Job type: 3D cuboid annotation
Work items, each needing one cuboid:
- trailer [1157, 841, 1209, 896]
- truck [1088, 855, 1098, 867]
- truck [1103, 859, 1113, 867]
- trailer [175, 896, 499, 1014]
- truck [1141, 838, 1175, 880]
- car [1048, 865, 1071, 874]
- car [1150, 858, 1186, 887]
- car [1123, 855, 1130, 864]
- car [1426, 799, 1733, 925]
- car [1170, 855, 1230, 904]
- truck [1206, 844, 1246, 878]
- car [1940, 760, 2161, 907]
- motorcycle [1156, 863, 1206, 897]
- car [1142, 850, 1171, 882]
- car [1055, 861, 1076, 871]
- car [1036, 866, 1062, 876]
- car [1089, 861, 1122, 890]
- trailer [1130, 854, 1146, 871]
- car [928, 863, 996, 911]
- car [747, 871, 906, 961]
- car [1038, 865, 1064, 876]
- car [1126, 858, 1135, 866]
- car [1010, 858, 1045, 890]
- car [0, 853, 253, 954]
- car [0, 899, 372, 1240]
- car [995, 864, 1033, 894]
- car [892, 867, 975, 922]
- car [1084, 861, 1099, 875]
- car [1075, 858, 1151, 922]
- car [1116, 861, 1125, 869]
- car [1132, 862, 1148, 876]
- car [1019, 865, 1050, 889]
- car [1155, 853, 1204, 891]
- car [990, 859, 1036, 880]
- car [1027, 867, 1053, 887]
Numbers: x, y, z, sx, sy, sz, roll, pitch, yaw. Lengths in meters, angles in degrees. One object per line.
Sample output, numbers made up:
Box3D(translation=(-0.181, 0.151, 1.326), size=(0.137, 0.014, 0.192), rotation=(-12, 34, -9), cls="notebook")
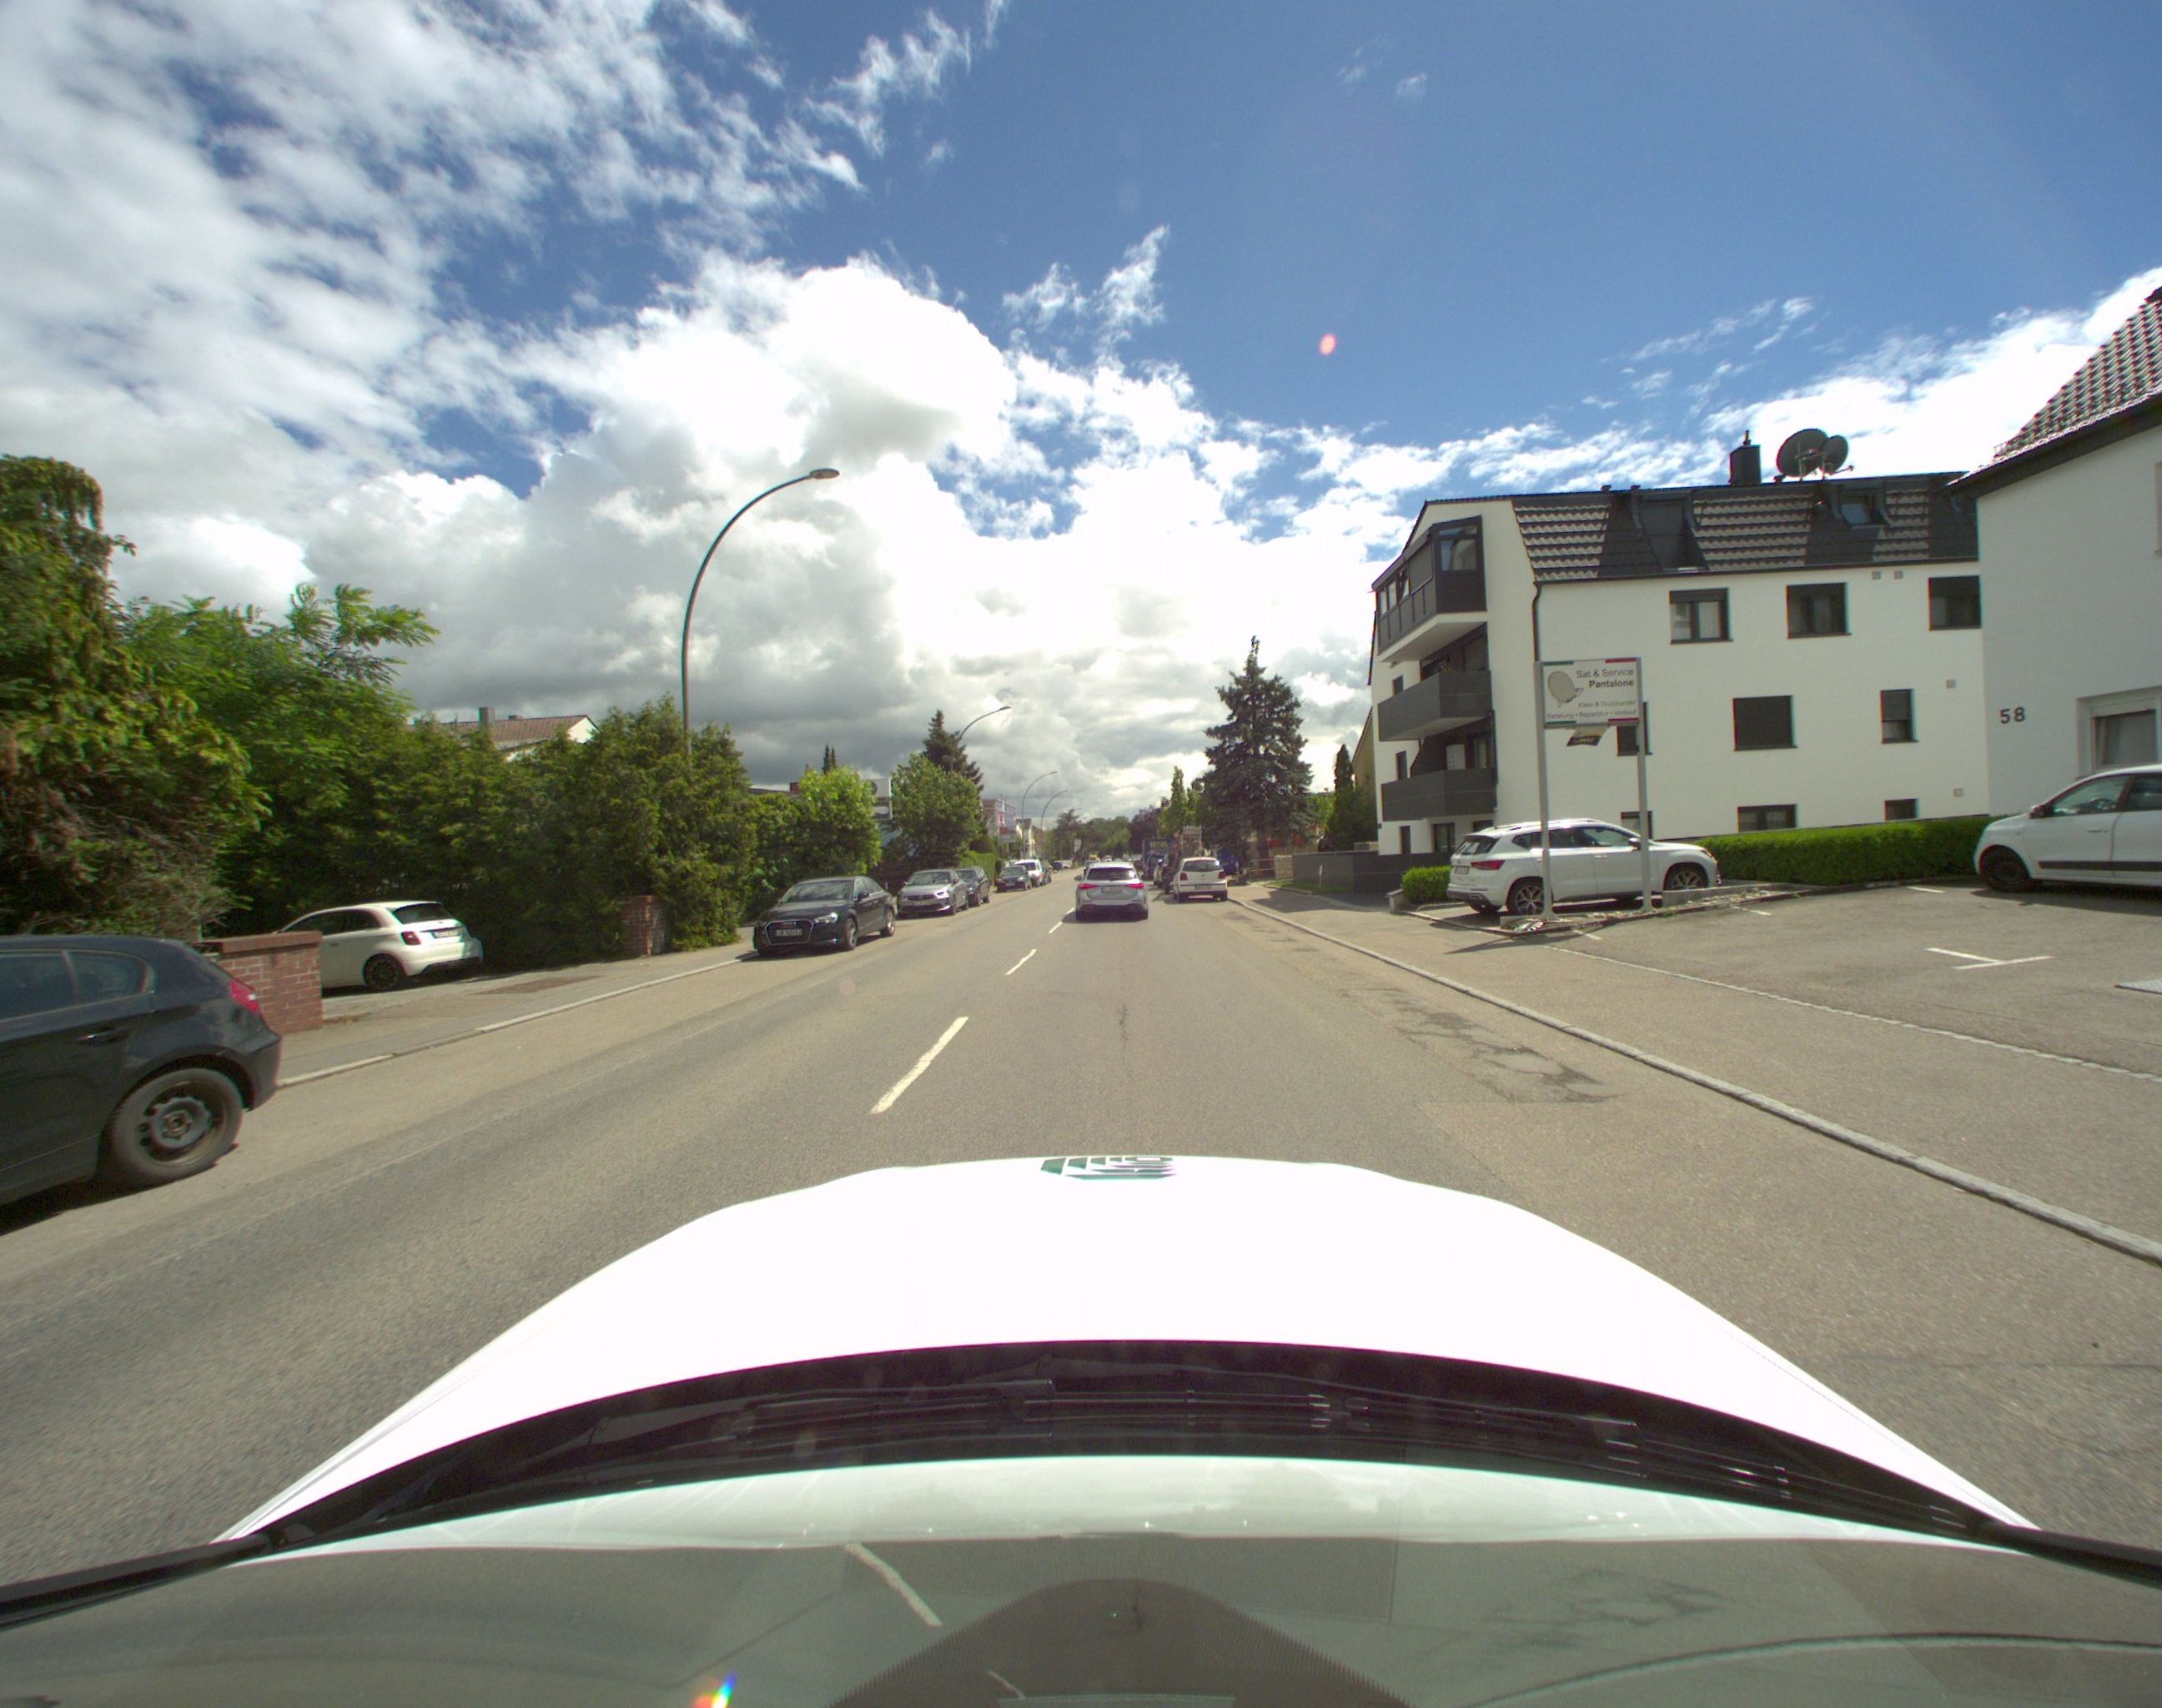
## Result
Box3D(translation=(4.324, 0.599, 35.033), size=(1.766, 2.145, 4.116), rotation=(-3, 0, 2), cls="trailer")
Box3D(translation=(3.187, 1.773, 209.541), size=(2.066, 2.814, 7.085), rotation=(-4, 0, 4), cls="truck")
Box3D(translation=(8.101, 2.678, 242.737), size=(2.308, 2.178, 6.457), rotation=(-4, -1, 5), cls="truck")
Box3D(translation=(-12.857, 1.713, 14.252), size=(3.971, 1.459, 1.801), rotation=(-6, -1, 2), cls="trailer")
Box3D(translation=(6.037, 0.390, 64.559), size=(2.311, 3.097, 6.046), rotation=(-1, 0, 3), cls="truck")
Box3D(translation=(-4.353, 3.194, 165.423), size=(4.262, 1.567, 1.992), rotation=(-3, -4, 2), cls="car")
Box3D(translation=(4.983, 1.051, 47.069), size=(1.766, 1.508, 4.002), rotation=(-3, 0, 2), cls="car")
Box3D(translation=(13.789, 1.746, 248.274), size=(1.778, 2.518, 4.316), rotation=(-2, -1, 1), cls="car")
Box3D(translation=(8.695, 0.138, 14.513), size=(4.176, 1.654, 1.868), rotation=(-6, -1, 1), cls="car")
Box3D(translation=(4.056, 0.834, 28.329), size=(1.711, 1.432, 3.988), rotation=(-4, 0, 5), cls="car")
Box3D(translation=(10.120, 0.436, 57.155), size=(1.822, 2.081, 5.388), rotation=(-6, 1, 2), cls="truck")
Box3D(translation=(12.436, -0.293, 9.329), size=(1.622, 1.519, 3.675), rotation=(-6, 1, 10), cls="car")
Box3D(translation=(3.900, 1.013, 31.632), size=(1.830, 1.210, 0.710), rotation=(-3, 0, -33), cls="motorcycle")
Box3D(translation=(5.443, 0.852, 58.957), size=(1.866, 2.169, 4.468), rotation=(-1, 0, 3), cls="car")
Box3D(translation=(-3.203, 2.518, 170.623), size=(4.264, 1.836, 1.991), rotation=(-3, -4, 1), cls="car")
Box3D(translation=(-5.025, 2.747, 129.098), size=(4.138, 1.492, 1.825), rotation=(-1, 0, -1), cls="car")
Box3D(translation=(1.402, 1.229, 47.789), size=(1.750, 1.558, 3.999), rotation=(-2, 0, 0), cls="car")
Box3D(translation=(8.102, 1.256, 116.233), size=(1.934, 2.294, 4.446), rotation=(-3, -1, 1), cls="trailer")
Box3D(translation=(-4.400, 1.174, 30.720), size=(1.713, 1.493, 4.736), rotation=(-4, 0, 1), cls="car")
Box3D(translation=(-5.017, 1.154, 16.711), size=(1.656, 1.414, 4.341), rotation=(-4, 0, 2), cls="car")
Box3D(translation=(-5.640, 3.080, 152.738), size=(4.614, 1.632, 2.197), rotation=(-6, 0, -1), cls="car")
Box3D(translation=(12.854, 2.026, 210.902), size=(2.135, 1.984, 5.265), rotation=(-3, -1, 3), cls="car")
Box3D(translation=(-3.421, 1.252, 52.783), size=(1.737, 1.838, 4.357), rotation=(-6, 0, 1), cls="car")
Box3D(translation=(-17.700, 0.899, 14.411), size=(3.972, 1.451, 2.001), rotation=(-5, -1, 1), cls="car")
Box3D(translation=(-5.741, 1.085, 3.333), size=(1.656, 1.435, 4.341), rotation=(-5, 0, 2), cls="car")
Box3D(translation=(-3.802, 1.388, 46.865), size=(1.634, 1.487, 4.001), rotation=(-6, 0, 1), cls="car")
Box3D(translation=(-4.622, 1.232, 26.097), size=(1.713, 1.432, 4.200), rotation=(-4, 0, 1), cls="car")
Box3D(translation=(1.323, 1.774, 102.493), size=(1.736, 1.627, 4.358), rotation=(-2, 0, 2), cls="car")
Box3D(translation=(0.805, 0.868, 21.635), size=(1.778, 1.484, 4.317), rotation=(-2, 0, 1), cls="car")
Box3D(translation=(8.136, 2.279, 169.851), size=(1.749, 1.558, 4.002), rotation=(-2, 0, 2), cls="car")
Box3D(translation=(7.589, 1.915, 104.864), size=(1.932, 1.571, 4.451), rotation=(-3, -1, 5), cls="car")
Box3D(translation=(-3.262, 1.606, 57.861), size=(1.737, 1.472, 4.645), rotation=(-6, 0, 1), cls="car")
Box3D(translation=(4.903, 0.860, 41.136), size=(1.867, 1.727, 4.713), rotation=(-3, 0, 1), cls="car")
Box3D(translation=(-7.119, 1.627, 85.878), size=(4.638, 1.972, 2.114), rotation=(-3, 0, -1), cls="car")
Box3D(translation=(-3.124, 1.770, 62.933), size=(1.625, 1.303, 4.116), rotation=(-6, 0, 0), cls="car")
